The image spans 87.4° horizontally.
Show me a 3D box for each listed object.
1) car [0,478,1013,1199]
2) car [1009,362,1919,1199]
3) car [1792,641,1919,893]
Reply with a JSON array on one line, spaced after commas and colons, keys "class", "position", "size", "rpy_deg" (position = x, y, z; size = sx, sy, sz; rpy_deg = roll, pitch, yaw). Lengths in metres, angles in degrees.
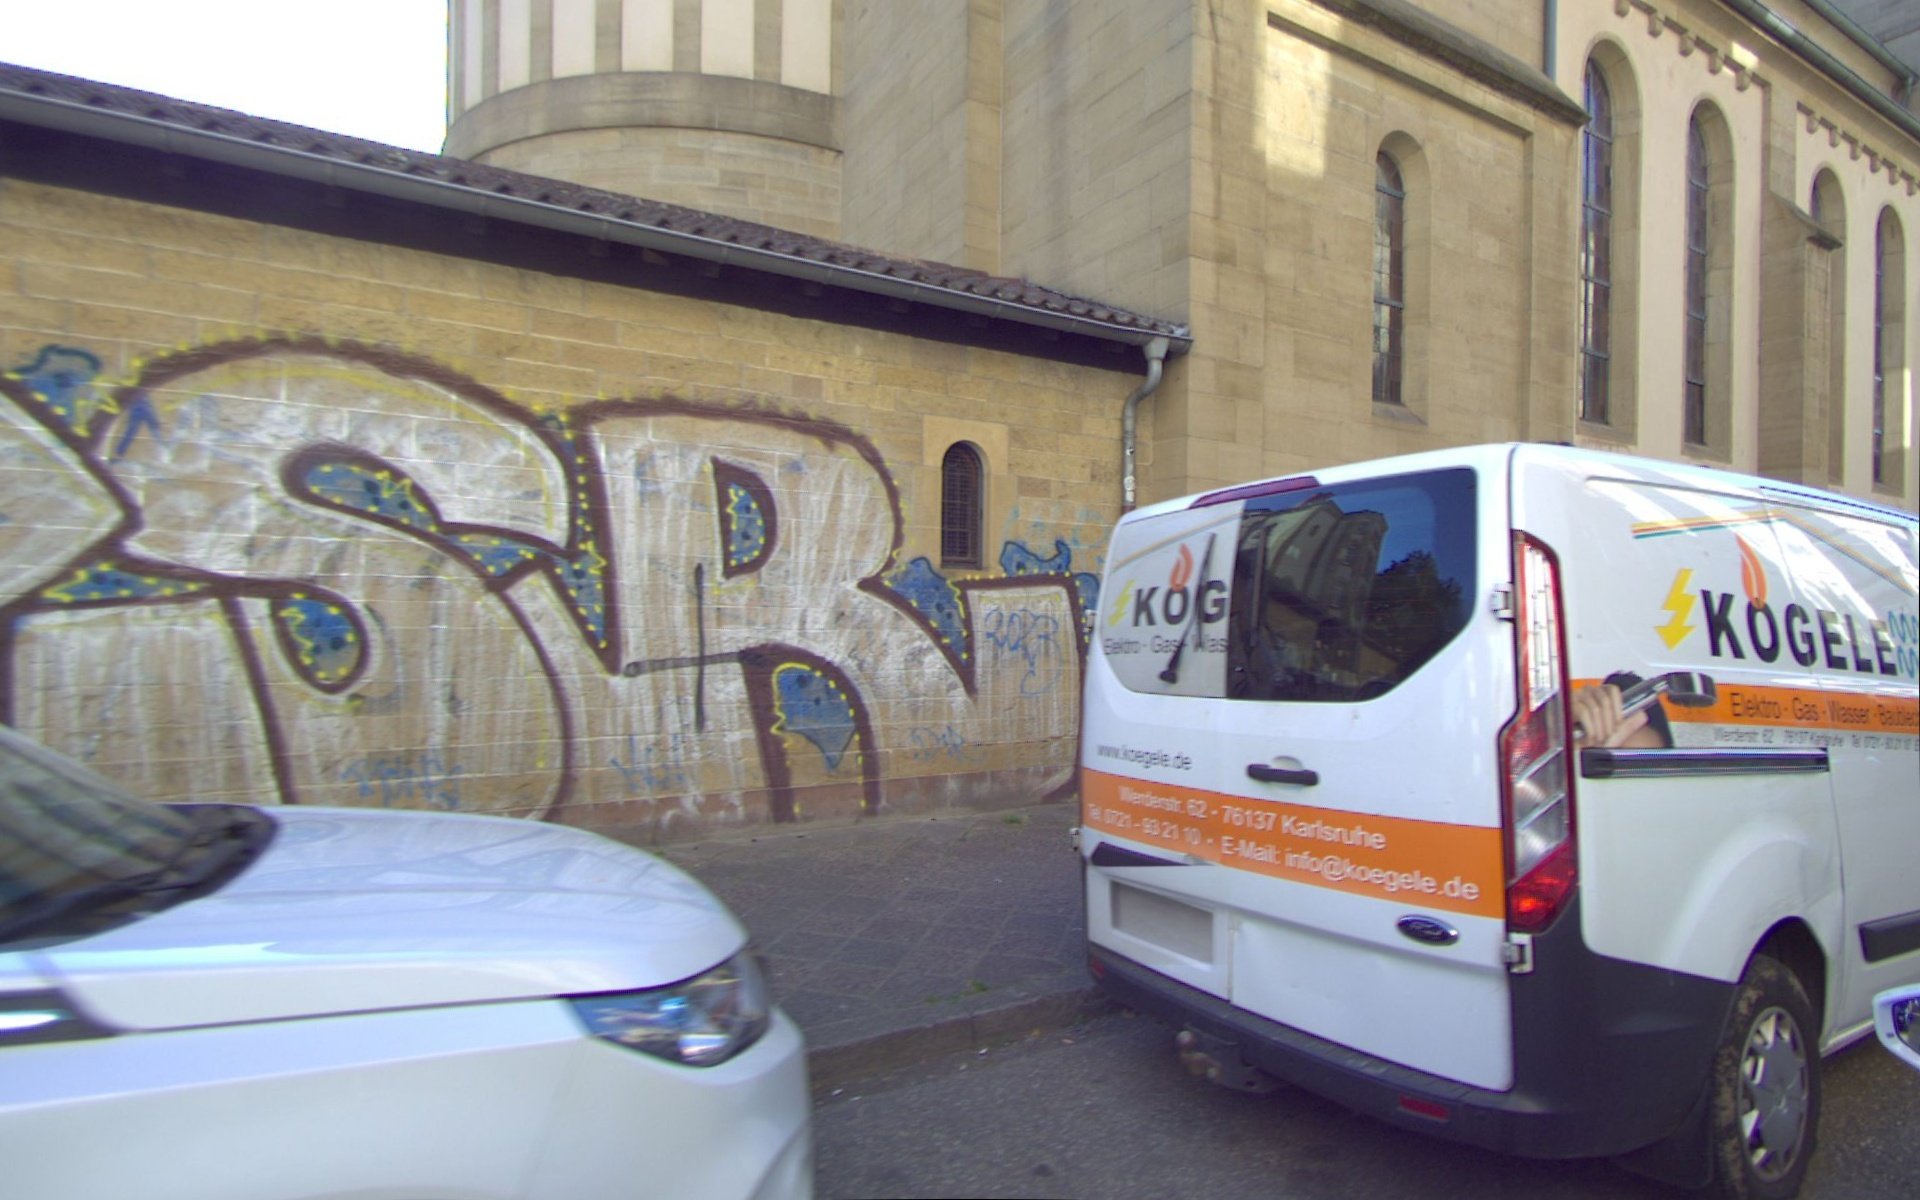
[{"class": "car", "position": [-2.001, 0.669, 1.349], "size": [3.823, 1.607, 1.734], "rpy_deg": [1, -1, -30]}, {"class": "car", "position": [2.584, 0.615, 3.886], "size": [4.557, 1.983, 1.855], "rpy_deg": [1, -3, -31]}, {"class": "car", "position": [7.405, 1.012, 6.707], "size": [3.904, 1.471, 1.608], "rpy_deg": [1, -3, -30]}]
